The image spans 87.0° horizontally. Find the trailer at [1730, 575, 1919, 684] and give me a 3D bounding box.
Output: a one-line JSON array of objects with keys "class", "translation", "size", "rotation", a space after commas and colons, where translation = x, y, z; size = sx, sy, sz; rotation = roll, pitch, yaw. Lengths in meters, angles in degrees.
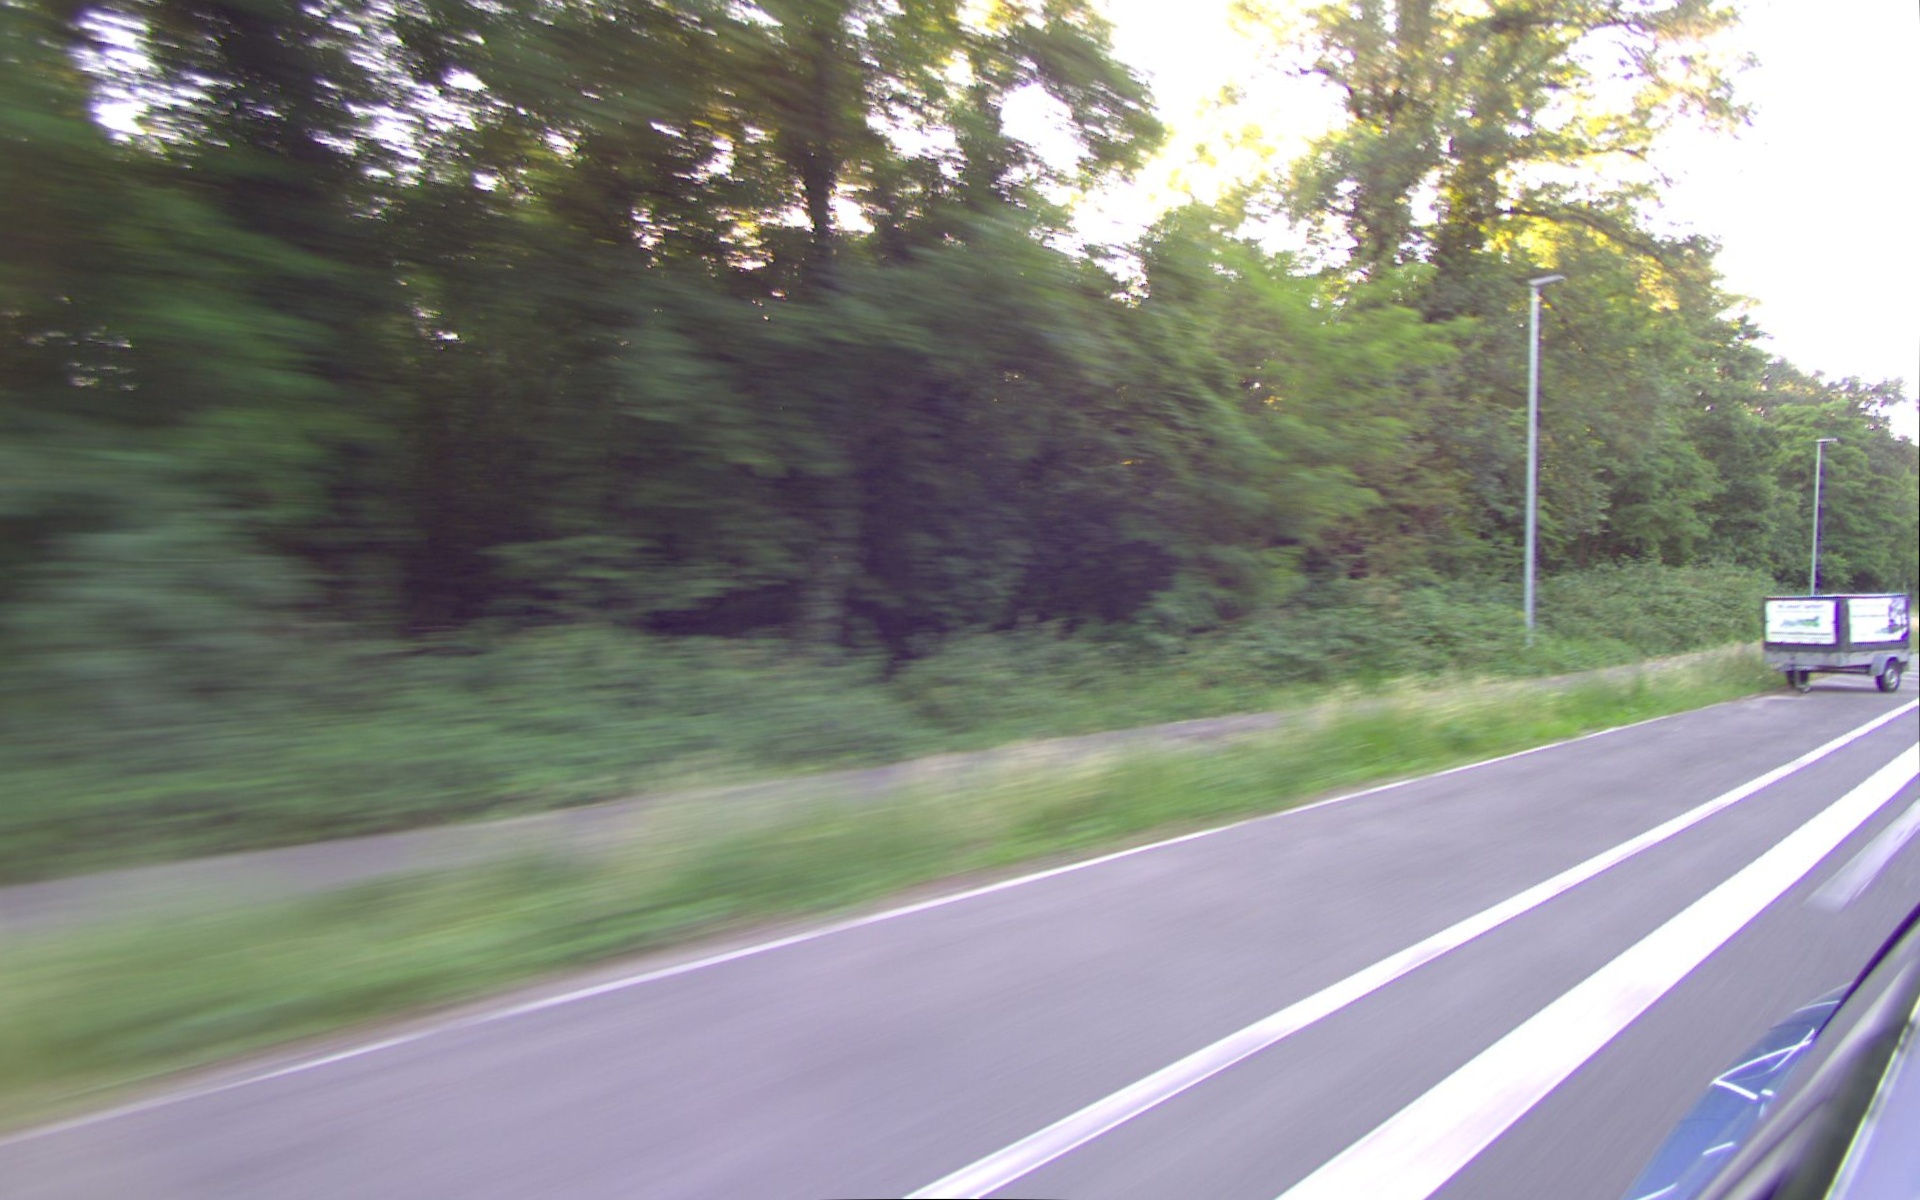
[{"class": "trailer", "translation": [15.122, 0.463, 17.131], "size": [3.697, 1.682, 1.464], "rotation": [1, 2, -19]}]
